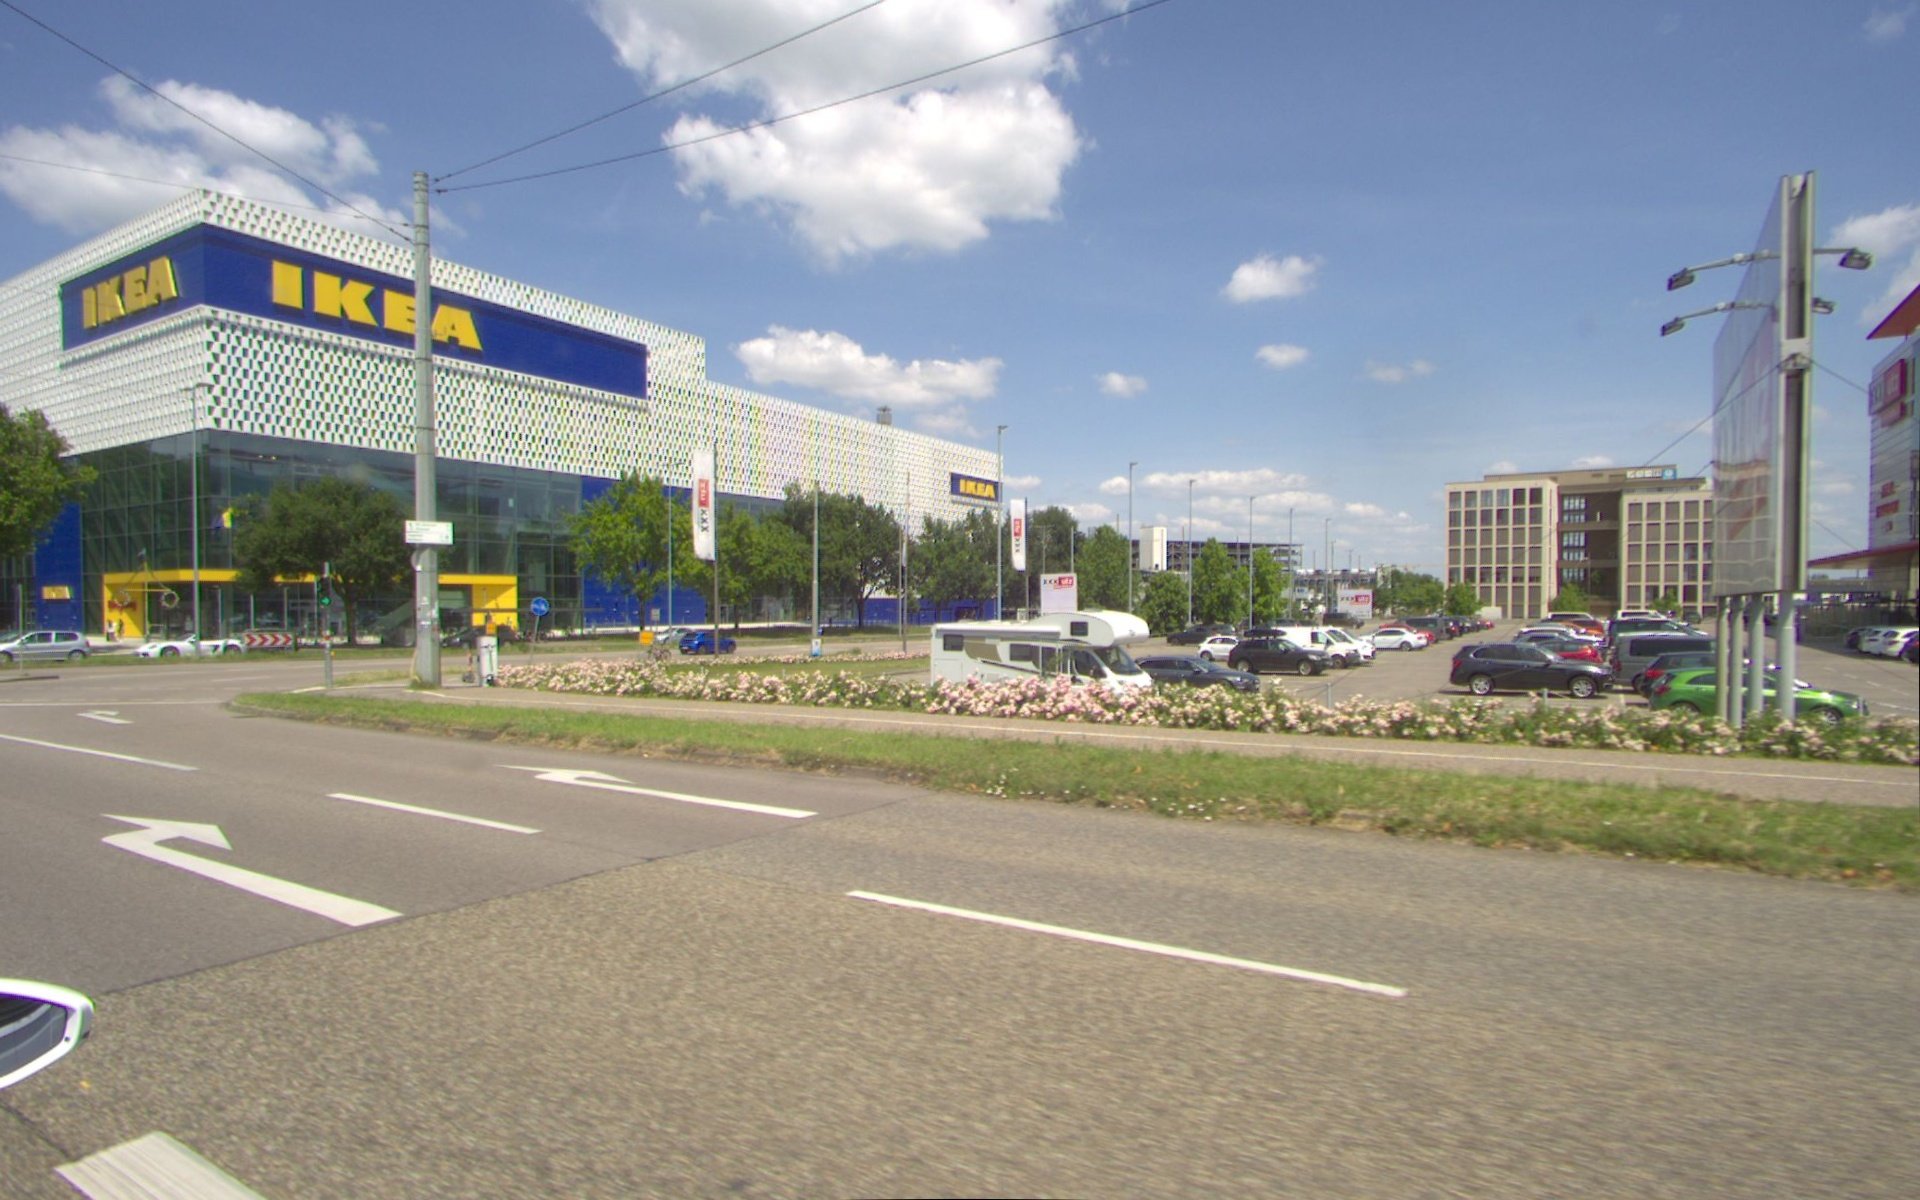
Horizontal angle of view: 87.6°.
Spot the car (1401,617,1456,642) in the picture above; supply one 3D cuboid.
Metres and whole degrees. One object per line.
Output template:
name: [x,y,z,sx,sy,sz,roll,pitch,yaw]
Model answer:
car: [38.470,2.427,82.256,3.943,2.040,1.990,-1,-1,32]

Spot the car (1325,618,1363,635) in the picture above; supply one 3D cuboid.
car: [46.596,3.243,121.517,4.069,2.040,1.479,-1,-1,32]

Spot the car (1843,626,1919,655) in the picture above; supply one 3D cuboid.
car: [49.641,2.136,53.072,3.942,1.505,1.990,-1,-1,32]

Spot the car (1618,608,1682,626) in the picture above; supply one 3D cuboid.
car: [66.307,1.634,96.347,4.929,1.631,1.990,-1,-2,32]

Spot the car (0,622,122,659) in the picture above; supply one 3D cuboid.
car: [-39.218,1.733,43.070,1.973,1.505,4.486,0,-3,35]

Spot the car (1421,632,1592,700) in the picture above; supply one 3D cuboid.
car: [18.369,2.141,33.736,4.929,2.040,1.989,-1,1,32]

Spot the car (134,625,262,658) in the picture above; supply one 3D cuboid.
car: [-36.223,1.982,47.707,1.973,1.505,4.486,0,-3,35]

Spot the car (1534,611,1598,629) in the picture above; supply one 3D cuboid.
car: [55.381,1.823,91.603,4.929,1.631,1.990,-1,-2,32]

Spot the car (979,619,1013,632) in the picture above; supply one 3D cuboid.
car: [4.284,3.024,118.733,1.973,1.505,4.486,0,-3,35]

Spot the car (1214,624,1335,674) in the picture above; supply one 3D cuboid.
car: [14.267,2.180,45.506,4.929,2.162,1.990,-1,-1,32]

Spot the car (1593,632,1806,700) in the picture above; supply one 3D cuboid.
car: [23.982,2.078,32.804,5.455,2.039,1.990,-1,-1,32]

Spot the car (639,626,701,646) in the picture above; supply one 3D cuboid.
car: [-23.142,2.906,80.096,1.973,1.505,4.486,0,-3,35]

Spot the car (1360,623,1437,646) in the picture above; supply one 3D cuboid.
car: [31.687,2.454,72.399,4.929,1.631,1.990,-1,-2,32]

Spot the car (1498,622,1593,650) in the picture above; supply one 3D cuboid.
car: [35.814,2.166,61.301,4.929,1.631,1.990,-1,-2,32]

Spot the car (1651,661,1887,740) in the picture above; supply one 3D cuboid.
car: [19.561,2.372,24.501,4.241,1.517,1.988,-1,2,32]

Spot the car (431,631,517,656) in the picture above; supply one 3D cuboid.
car: [-30.576,2.726,63.058,1.973,1.505,4.486,0,-3,35]

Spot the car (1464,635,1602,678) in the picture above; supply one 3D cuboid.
car: [23.974,2.335,41.999,4.929,1.632,1.989,-1,0,32]

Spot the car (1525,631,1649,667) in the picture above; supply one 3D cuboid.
car: [29.773,2.286,47.713,4.928,1.631,1.991,-1,-2,31]

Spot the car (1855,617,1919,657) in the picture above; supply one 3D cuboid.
car: [48.524,1.868,51.068,3.943,2.040,1.990,-1,-1,32]

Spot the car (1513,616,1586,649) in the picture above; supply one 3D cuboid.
car: [37.252,2.028,63.314,3.942,2.039,1.990,-1,-1,32]

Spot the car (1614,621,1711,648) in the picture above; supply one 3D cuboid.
car: [44.649,2.161,63.756,4.929,1.631,1.990,-1,-2,32]

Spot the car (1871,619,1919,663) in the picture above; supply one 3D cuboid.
car: [46.446,1.950,47.888,3.943,2.040,1.990,-1,-1,32]

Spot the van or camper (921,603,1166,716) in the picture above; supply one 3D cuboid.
van or camper: [2.395,1.695,30.217,7.128,3.059,2.500,-1,-1,36]

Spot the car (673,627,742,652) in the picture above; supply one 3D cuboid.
car: [-16.146,2.543,64.220,1.821,1.473,3.971,-1,-3,40]

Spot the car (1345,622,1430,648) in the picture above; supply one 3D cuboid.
car: [28.133,2.272,65.916,4.929,1.631,1.990,-1,-2,32]

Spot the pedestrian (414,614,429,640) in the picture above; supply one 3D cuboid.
pedestrian: [-42.053,2.121,78.233,0.813,2.040,0.709,0,-1,34]

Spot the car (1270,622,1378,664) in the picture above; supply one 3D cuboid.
car: [18.709,2.183,51.567,4.929,2.033,1.990,-1,-1,32]

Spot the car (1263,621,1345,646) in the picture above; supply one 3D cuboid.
car: [22.712,2.185,66.153,4.921,1.631,1.993,0,-1,27]

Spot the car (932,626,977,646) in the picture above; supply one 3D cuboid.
car: [-0.429,2.864,80.497,1.741,1.546,4.080,0,-1,31]

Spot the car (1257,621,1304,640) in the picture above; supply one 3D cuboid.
car: [30.841,2.926,96.325,3.943,1.863,1.819,-1,-1,32]

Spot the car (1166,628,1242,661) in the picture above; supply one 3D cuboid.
car: [14.094,2.544,57.792,3.936,1.839,1.994,-1,-1,26]

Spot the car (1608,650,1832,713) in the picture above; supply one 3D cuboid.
car: [21.531,2.270,28.675,4.929,1.570,1.990,-1,-2,32]

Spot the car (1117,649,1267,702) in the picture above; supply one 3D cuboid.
car: [8.040,2.577,34.787,4.701,1.558,1.989,-1,0,32]

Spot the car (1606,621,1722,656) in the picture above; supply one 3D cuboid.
car: [38.940,2.093,55.544,5.105,1.889,1.991,-1,-1,31]

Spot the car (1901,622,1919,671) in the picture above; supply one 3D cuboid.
car: [41.788,1.929,41.330,3.943,2.040,1.990,-1,-1,32]

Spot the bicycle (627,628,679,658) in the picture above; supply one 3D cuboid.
bicycle: [-15.606,2.181,50.945,0.976,1.500,2.415,0,-1,36]

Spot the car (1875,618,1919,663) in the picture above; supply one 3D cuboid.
car: [44.799,1.861,45.840,3.942,2.039,1.990,-1,-1,32]

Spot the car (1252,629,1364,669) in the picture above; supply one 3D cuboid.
car: [17.179,2.366,49.482,4.929,1.876,1.990,-1,-1,32]

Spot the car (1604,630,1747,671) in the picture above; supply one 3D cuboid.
car: [30.910,2.166,43.497,4.929,1.671,1.990,-1,-2,32]

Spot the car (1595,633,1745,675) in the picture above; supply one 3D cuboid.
car: [29.126,2.187,41.325,4.929,1.631,1.990,-1,-2,32]

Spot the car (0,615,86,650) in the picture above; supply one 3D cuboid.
car: [-41.906,1.473,44.863,1.973,1.505,3.779,0,-3,35]

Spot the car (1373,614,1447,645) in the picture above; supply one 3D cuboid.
car: [34.333,2.227,76.490,4.929,2.333,1.990,-1,-1,32]
